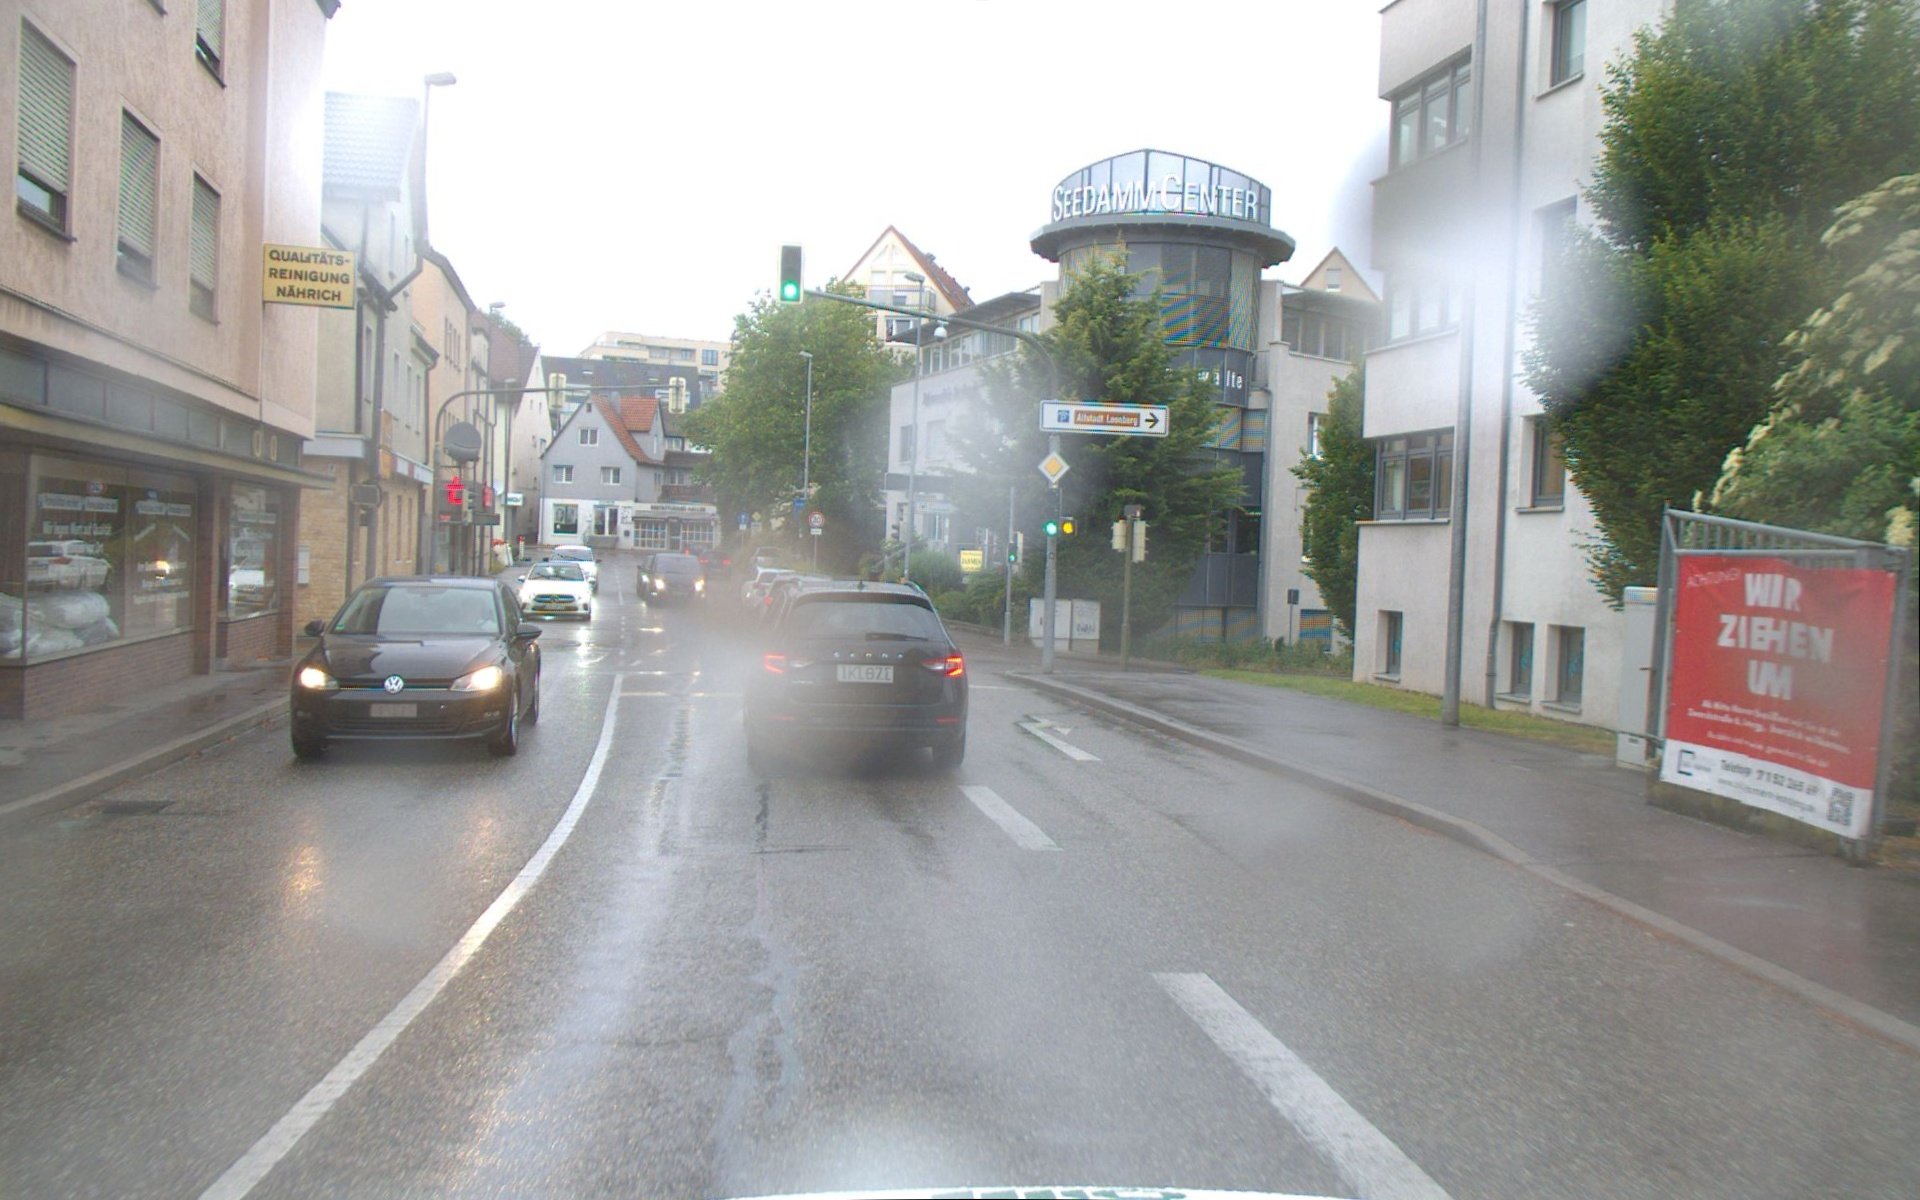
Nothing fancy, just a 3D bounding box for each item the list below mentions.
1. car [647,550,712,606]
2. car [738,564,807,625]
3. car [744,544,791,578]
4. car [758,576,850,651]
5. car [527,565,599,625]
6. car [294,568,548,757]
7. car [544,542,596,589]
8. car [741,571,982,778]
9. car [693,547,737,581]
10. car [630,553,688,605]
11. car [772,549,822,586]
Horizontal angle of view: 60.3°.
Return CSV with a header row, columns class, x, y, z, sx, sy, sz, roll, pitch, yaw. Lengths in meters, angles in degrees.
class,x,y,z,sx,sy,sz,roll,pitch,yaw
car,-8.962,-0.733,52.605,1.753,1.589,4.389,3,2,-13
car,-5.610,-0.115,49.047,1.696,1.618,4.173,3,-2,-10
car,-9.804,-1.988,84.035,1.821,1.669,3.857,1,2,-15
car,-3.336,0.244,34.987,1.783,1.383,3.985,2,1,-7
car,-10.277,-0.164,43.007,1.660,1.396,4.102,0,2,-12
car,-4.607,0.462,14.633,1.739,1.426,3.907,0,0,-13
car,-14.319,-1.296,60.847,1.753,1.587,4.324,1,2,-13
car,-1.005,0.514,14.519,1.749,1.509,4.238,0,1,-8
car,-12.211,-1.768,82.165,1.860,1.618,3.676,1,1,-13
car,-10.589,-0.769,57.948,1.753,1.589,4.389,3,2,-13
car,-7.728,-1.567,78.351,1.821,1.669,3.525,1,2,-15
